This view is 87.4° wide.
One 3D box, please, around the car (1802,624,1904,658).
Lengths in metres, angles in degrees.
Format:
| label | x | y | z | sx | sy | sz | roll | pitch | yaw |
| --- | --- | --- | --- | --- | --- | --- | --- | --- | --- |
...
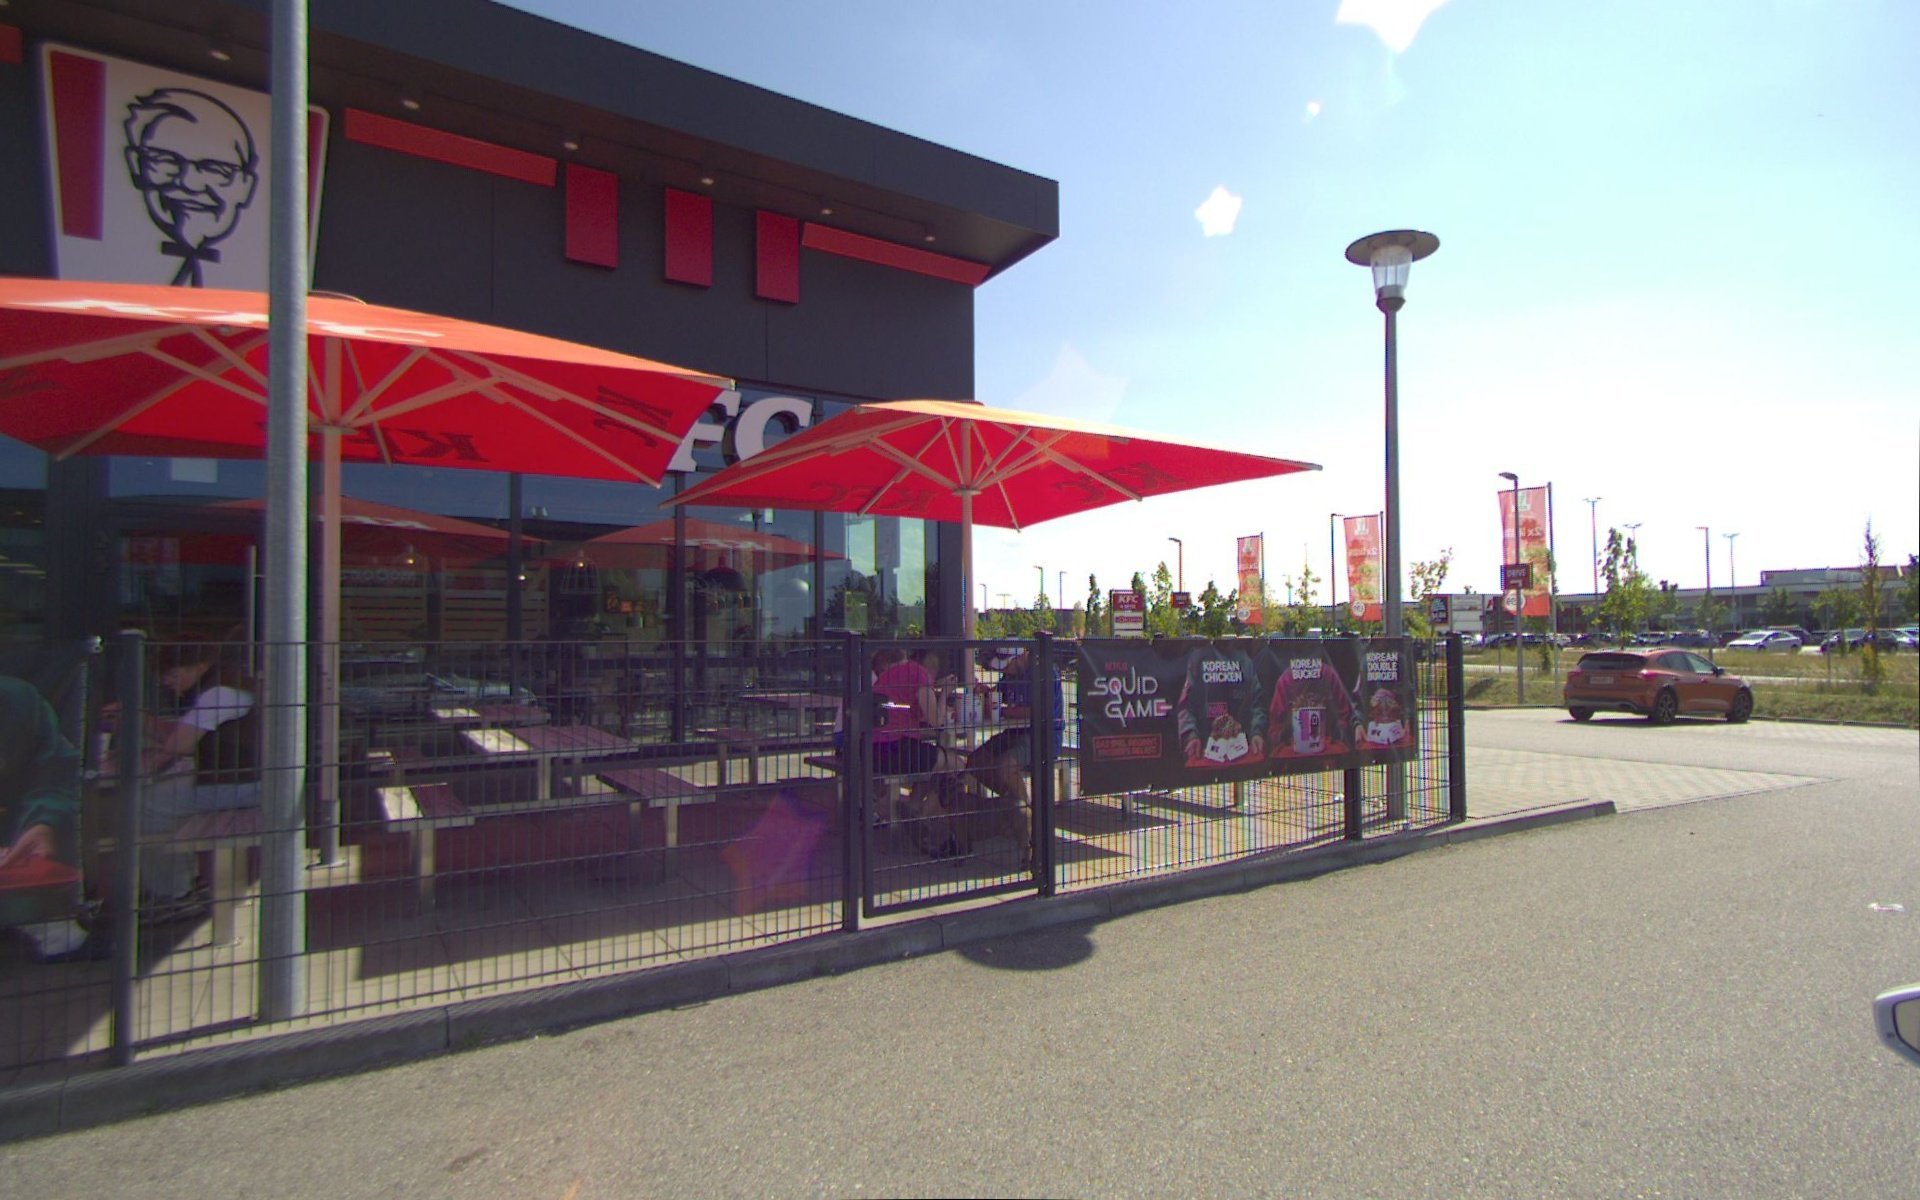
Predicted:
| label | x | y | z | sx | sy | sz | roll | pitch | yaw |
| --- | --- | --- | --- | --- | --- | --- | --- | --- | --- |
| car | 49.927 | 2.274 | 56.184 | 4.325 | 1.880 | 1.953 | 0 | -2 | -10 |

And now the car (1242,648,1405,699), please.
| label | x | y | z | sx | sy | sz | roll | pitch | yaw |
| --- | --- | --- | --- | --- | --- | --- | --- | --- | --- |
| car | 10.812 | 2.162 | 29.879 | 4.532 | 1.431 | 1.732 | 2 | -3 | -21 |

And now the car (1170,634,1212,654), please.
| label | x | y | z | sx | sy | sz | roll | pitch | yaw |
| --- | --- | --- | --- | --- | --- | --- | --- | --- | --- |
| car | 19.964 | 3.805 | 86.976 | 1.846 | 1.686 | 4.593 | 0 | -2 | -12 |

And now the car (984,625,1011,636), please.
| label | x | y | z | sx | sy | sz | roll | pitch | yaw |
| --- | --- | --- | --- | --- | --- | --- | --- | --- | --- |
| car | 5.447 | 4.507 | 147.131 | 3.627 | 1.619 | 1.700 | 1 | -2 | -32 |

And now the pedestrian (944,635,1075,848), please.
| label | x | y | z | sx | sy | sz | roll | pitch | yaw |
| --- | --- | --- | --- | --- | --- | --- | --- | --- | --- |
| pedestrian | 0.327 | 0.876 | 6.556 | 0.605 | 1.290 | 0.621 | -1 | -2 | 41 |

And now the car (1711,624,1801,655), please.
| label | x | y | z | sx | sy | sz | roll | pitch | yaw |
| --- | --- | --- | --- | --- | --- | --- | --- | --- | --- |
| car | 48.411 | 2.390 | 61.156 | 4.208 | 1.880 | 1.997 | 0 | -2 | -10 |

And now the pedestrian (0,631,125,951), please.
| label | x | y | z | sx | sy | sz | roll | pitch | yaw |
| --- | --- | --- | --- | --- | --- | --- | --- | --- | --- |
| pedestrian | -4.216 | 0.795 | 4.401 | 0.677 | 1.322 | 0.662 | 1 | -2 | -24 |

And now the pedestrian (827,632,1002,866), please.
| label | x | y | z | sx | sy | sz | roll | pitch | yaw |
| --- | --- | --- | --- | --- | --- | --- | --- | --- | --- |
| pedestrian | -0.268 | 0.841 | 6.097 | 0.675 | 1.290 | 0.837 | -1 | -2 | 41 |

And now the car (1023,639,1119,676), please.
| label | x | y | z | sx | sy | sz | roll | pitch | yaw |
| --- | --- | --- | --- | --- | --- | --- | --- | --- | --- |
| car | 5.394 | 2.792 | 48.852 | 4.267 | 1.725 | 1.887 | 2 | -3 | -21 |

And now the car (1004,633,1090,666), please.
| label | x | y | z | sx | sy | sz | roll | pitch | yaw |
| --- | --- | --- | --- | --- | --- | --- | --- | --- | --- |
| car | 4.468 | 2.538 | 51.632 | 4.017 | 1.630 | 1.888 | 1 | -2 | -18 |

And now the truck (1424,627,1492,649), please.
| label | x | y | z | sx | sy | sz | roll | pitch | yaw |
| --- | --- | --- | --- | --- | --- | --- | --- | --- | --- |
| truck | 43.927 | 3.349 | 88.640 | 5.339 | 1.888 | 1.995 | 0 | -2 | -13 |

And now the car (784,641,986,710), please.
| label | x | y | z | sx | sy | sz | roll | pitch | yaw |
| --- | --- | --- | --- | --- | --- | --- | --- | --- | --- |
| car | -1.646 | 1.680 | 22.956 | 4.358 | 1.431 | 1.723 | 2 | -3 | -35 |

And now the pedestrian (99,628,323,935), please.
| label | x | y | z | sx | sy | sz | roll | pitch | yaw |
| --- | --- | --- | --- | --- | --- | --- | --- | --- | --- |
| pedestrian | -3.515 | 0.795 | 4.785 | 0.702 | 1.322 | 0.662 | 1 | -2 | -24 |

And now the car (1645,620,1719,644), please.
| label | x | y | z | sx | sy | sz | roll | pitch | yaw |
| --- | --- | --- | --- | --- | --- | --- | --- | --- | --- |
| car | 58.921 | 2.636 | 82.044 | 1.934 | 1.880 | 4.533 | 1 | -2 | -32 |

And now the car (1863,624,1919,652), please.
| label | x | y | z | sx | sy | sz | roll | pitch | yaw |
| --- | --- | --- | --- | --- | --- | --- | --- | --- | --- |
| car | 66.609 | 2.652 | 70.554 | 1.934 | 1.880 | 4.366 | 1 | -2 | -32 |

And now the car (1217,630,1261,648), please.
| label | x | y | z | sx | sy | sz | roll | pitch | yaw |
| --- | --- | --- | --- | --- | --- | --- | --- | --- | --- |
| car | 33.964 | 4.729 | 122.155 | 5.004 | 2.040 | 1.989 | 1 | -2 | -23 |

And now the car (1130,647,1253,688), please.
| label | x | y | z | sx | sy | sz | roll | pitch | yaw |
| --- | --- | --- | --- | --- | --- | --- | --- | --- | --- |
| car | 8.457 | 2.434 | 36.652 | 4.146 | 1.428 | 1.764 | 2 | -3 | -23 |

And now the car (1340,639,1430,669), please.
| label | x | y | z | sx | sy | sz | roll | pitch | yaw |
| --- | --- | --- | --- | --- | --- | --- | --- | --- | --- |
| car | 26.930 | 3.386 | 63.849 | 1.964 | 1.754 | 5.185 | 1 | -2 | -28 |

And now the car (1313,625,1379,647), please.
| label | x | y | z | sx | sy | sz | roll | pitch | yaw |
| --- | --- | --- | --- | --- | --- | --- | --- | --- | --- |
| car | 40.944 | 3.792 | 106.564 | 6.215 | 2.267 | 2.805 | 1 | -2 | -20 |

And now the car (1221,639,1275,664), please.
| label | x | y | z | sx | sy | sz | roll | pitch | yaw |
| --- | --- | --- | --- | --- | --- | --- | --- | --- | --- |
| car | 22.033 | 3.923 | 77.059 | 1.967 | 1.870 | 4.393 | 0 | -2 | -15 |

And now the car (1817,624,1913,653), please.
| label | x | y | z | sx | sy | sz | roll | pitch | yaw |
| --- | --- | --- | --- | --- | --- | --- | --- | --- | --- |
| car | 59.724 | 2.533 | 66.333 | 1.934 | 1.880 | 4.366 | 1 | -2 | -32 |

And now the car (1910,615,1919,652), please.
| label | x | y | z | sx | sy | sz | roll | pitch | yaw |
| --- | --- | --- | --- | --- | --- | --- | --- | --- | --- |
| car | 51.090 | 1.687 | 50.995 | 4.325 | 1.880 | 1.953 | 0 | -2 | -10 |

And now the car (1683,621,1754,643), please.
| label | x | y | z | sx | sy | sz | roll | pitch | yaw |
| --- | --- | --- | --- | --- | --- | --- | --- | --- | --- |
| car | 65.356 | 2.774 | 86.622 | 1.934 | 1.880 | 4.533 | 1 | -2 | -32 |

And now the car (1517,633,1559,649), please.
| label | x | y | z | sx | sy | sz | roll | pitch | yaw |
| --- | --- | --- | --- | --- | --- | --- | --- | --- | --- |
| car | 59.041 | 4.195 | 102.643 | 1.652 | 1.572 | 3.439 | 1 | -2 | -38 |

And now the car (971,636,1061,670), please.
| label | x | y | z | sx | sy | sz | roll | pitch | yaw |
| --- | --- | --- | --- | --- | --- | --- | --- | --- | --- |
| car | 3.018 | 2.850 | 54.337 | 4.514 | 1.783 | 1.890 | 1 | -2 | -16 |

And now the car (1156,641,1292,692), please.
| label | x | y | z | sx | sy | sz | roll | pitch | yaw |
| --- | --- | --- | --- | --- | --- | --- | --- | --- | --- |
| car | 9.013 | 2.238 | 34.334 | 4.168 | 1.659 | 1.942 | 2 | -3 | -21 |

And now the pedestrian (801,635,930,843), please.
| label | x | y | z | sx | sy | sz | roll | pitch | yaw |
| --- | --- | --- | --- | --- | --- | --- | --- | --- | --- |
| pedestrian | -0.634 | 0.880 | 6.705 | 0.675 | 1.290 | 0.548 | -1 | -2 | 41 |

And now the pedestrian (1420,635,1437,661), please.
| label | x | y | z | sx | sy | sz | roll | pitch | yaw |
| --- | --- | --- | --- | --- | --- | --- | --- | --- | --- |
| pedestrian | 30.244 | 3.092 | 64.874 | 0.679 | 1.621 | 0.756 | 0 | -1 | -7 |

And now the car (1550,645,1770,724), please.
| label | x | y | z | sx | sy | sz | roll | pitch | yaw |
| --- | --- | --- | --- | --- | --- | --- | --- | --- | --- |
| car | 14.425 | 1.707 | 20.696 | 4.294 | 1.488 | 1.822 | 2 | -3 | -25 |

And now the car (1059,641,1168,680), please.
| label | x | y | z | sx | sy | sz | roll | pitch | yaw |
| --- | --- | --- | --- | --- | --- | --- | --- | --- | --- |
| car | 6.748 | 2.641 | 44.217 | 4.375 | 1.659 | 1.891 | 1 | -2 | -14 |

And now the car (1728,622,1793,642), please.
| label | x | y | z | sx | sy | sz | roll | pitch | yaw |
| --- | --- | --- | --- | --- | --- | --- | --- | --- | --- |
| car | 75.274 | 3.011 | 94.499 | 1.934 | 1.880 | 4.366 | 1 | -2 | -32 |

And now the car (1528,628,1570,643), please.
| label | x | y | z | sx | sy | sz | roll | pitch | yaw |
| --- | --- | --- | --- | --- | --- | --- | --- | --- | --- |
| car | 61.146 | 3.664 | 104.280 | 1.652 | 1.572 | 3.439 | 1 | -2 | -38 |

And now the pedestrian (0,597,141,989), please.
| label | x | y | z | sx | sy | sz | roll | pitch | yaw |
| --- | --- | --- | --- | --- | --- | --- | --- | --- | --- |
| pedestrian | -3.753 | 0.700 | 3.835 | 0.796 | 1.405 | 0.662 | 1 | -1 | -24 |

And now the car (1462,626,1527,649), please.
| label | x | y | z | sx | sy | sz | roll | pitch | yaw |
| --- | --- | --- | --- | --- | --- | --- | --- | --- | --- |
| car | 44.410 | 3.121 | 83.502 | 4.650 | 1.870 | 1.996 | 0 | -2 | -13 |

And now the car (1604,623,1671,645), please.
| label | x | y | z | sx | sy | sz | roll | pitch | yaw |
| --- | --- | --- | --- | --- | --- | --- | --- | --- | --- |
| car | 63.750 | 3.210 | 94.607 | 2.063 | 2.040 | 4.881 | 1 | -2 | -37 |

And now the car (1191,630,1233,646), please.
| label | x | y | z | sx | sy | sz | roll | pitch | yaw |
| --- | --- | --- | --- | --- | --- | --- | --- | --- | --- |
| car | 31.928 | 4.806 | 127.039 | 5.004 | 2.040 | 1.989 | 1 | -2 | -23 |
